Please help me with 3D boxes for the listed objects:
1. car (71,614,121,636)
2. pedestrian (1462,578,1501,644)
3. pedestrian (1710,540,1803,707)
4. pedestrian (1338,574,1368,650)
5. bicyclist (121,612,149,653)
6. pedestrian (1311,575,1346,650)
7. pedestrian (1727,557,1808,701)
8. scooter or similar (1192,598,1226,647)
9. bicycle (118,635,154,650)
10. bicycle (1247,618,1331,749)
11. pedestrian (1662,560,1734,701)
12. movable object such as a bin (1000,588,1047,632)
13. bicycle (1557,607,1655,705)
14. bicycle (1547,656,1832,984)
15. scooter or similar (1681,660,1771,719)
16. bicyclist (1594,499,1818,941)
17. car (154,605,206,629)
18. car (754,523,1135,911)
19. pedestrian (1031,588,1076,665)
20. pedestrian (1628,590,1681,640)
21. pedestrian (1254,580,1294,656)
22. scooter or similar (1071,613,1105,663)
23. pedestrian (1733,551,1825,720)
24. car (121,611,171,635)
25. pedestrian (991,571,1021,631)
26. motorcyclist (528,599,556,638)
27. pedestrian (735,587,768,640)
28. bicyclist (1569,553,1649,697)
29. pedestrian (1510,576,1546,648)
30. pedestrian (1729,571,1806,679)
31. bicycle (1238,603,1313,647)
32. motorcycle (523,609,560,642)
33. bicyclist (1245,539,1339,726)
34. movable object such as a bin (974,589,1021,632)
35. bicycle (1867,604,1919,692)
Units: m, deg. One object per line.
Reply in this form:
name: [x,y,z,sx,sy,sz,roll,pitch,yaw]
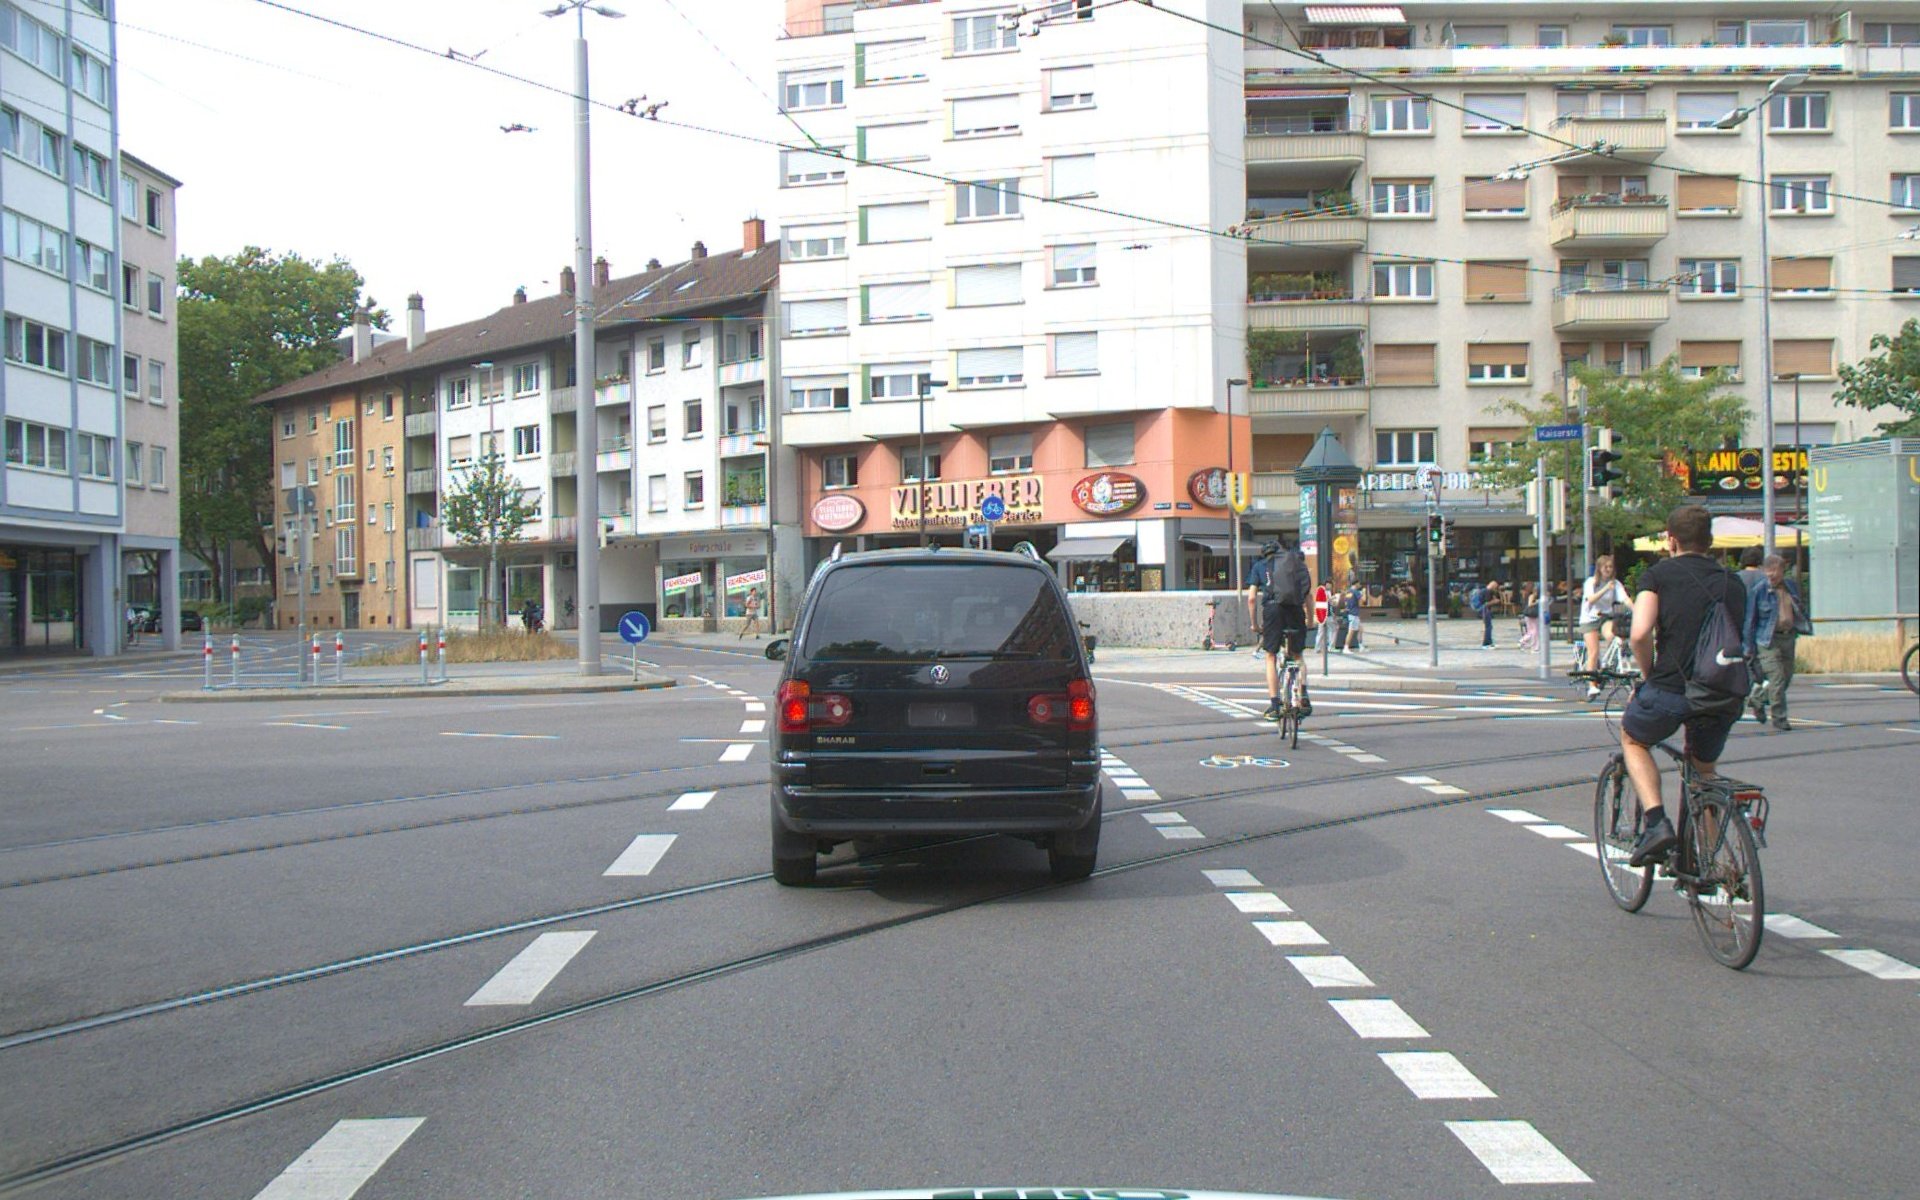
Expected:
car: [-59.085,1.700,113.078,4.383,1.418,1.670,-2,-1,43]
pedestrian: [12.748,0.264,40.416,0.802,1.604,0.415,-1,0,0]
pedestrian: [9.252,0.262,19.237,0.626,1.887,0.877,-1,0,-1]
pedestrian: [9.283,0.287,39.051,0.581,1.767,0.414,-1,0,-2]
bicyclist: [-35.017,1.369,70.211,0.595,1.675,1.038,-1,0,2]
pedestrian: [8.805,0.299,39.530,0.685,1.767,0.414,-1,0,-2]
pedestrian: [9.902,0.352,20.300,0.620,1.725,0.706,-1,0,-1]
scooter or similar: [6.329,0.571,42.086,0.282,1.233,1.117,-1,0,-24]
bicycle: [-35.080,1.807,70.415,0.473,0.598,1.998,-1,0,2]
bicycle: [3.126,0.762,15.842,0.382,1.141,1.920,-1,0,-1]
pedestrian: [9.173,0.370,20.579,0.459,1.715,0.795,-1,0,-6]
movable object such as a bin: [2.277,0.366,59.116,1.176,1.542,1.190,-1,0,43]
bicycle: [8.038,0.666,20.656,0.382,1.141,2.076,-1,0,-1]
bicycle: [3.105,0.865,7.238,0.397,1.141,2.017,-1,1,2]
scooter or similar: [8.250,0.954,17.835,0.498,0.584,0.814,-1,0,-11]
bicyclist: [3.114,0.474,6.969,0.547,1.739,0.863,-1,0,2]
car: [-48.475,1.055,102.737,3.800,1.447,1.652,0,1,44]
car: [-0.175,0.543,9.704,1.776,1.797,3.735,-1,0,-3]
pedestrian: [2.204,0.614,38.872,0.915,1.770,0.686,-2,0,12]
pedestrian: [18.135,0.398,43.198,1.010,1.267,0.935,1,0,1]
pedestrian: [7.246,0.408,38.179,0.787,1.710,0.627,-1,0,0]
scooter or similar: [3.000,0.887,38.716,0.685,1.129,0.609,-2,0,11]
pedestrian: [8.485,0.357,17.148,0.626,1.717,0.600,-1,0,-2]
car: [-52.328,1.467,106.330,3.879,1.447,1.652,0,1,44]
pedestrian: [1.503,0.034,54.065,0.580,1.936,0.670,-1,2,45]
motorcyclist: [-14.909,0.662,58.995,0.885,1.364,0.712,-1,0,-7]
pedestrian: [-7.631,0.489,60.442,0.653,1.884,0.956,-5,2,-43]
bicyclist: [8.048,0.299,20.536,0.627,1.739,0.862,-1,0,-1]
pedestrian: [13.313,0.281,38.794,0.662,1.670,0.439,-1,0,-2]
pedestrian: [11.744,0.369,24.070,0.542,1.527,0.843,-1,-2,-17]
bicycle: [8.092,0.629,42.356,2.429,1.031,0.536,-2,0,-43]
motorcycle: [-14.912,0.903,58.987,0.901,1.124,2.686,-1,0,-7]
bicyclist: [3.180,0.303,15.918,0.683,1.739,0.907,-1,0,-1]
movable object such as a bin: [1.314,0.364,58.193,1.202,1.486,1.142,-1,0,43]
bicycle: [12.516,0.606,20.820,1.880,1.106,0.390,-1,0,35]
